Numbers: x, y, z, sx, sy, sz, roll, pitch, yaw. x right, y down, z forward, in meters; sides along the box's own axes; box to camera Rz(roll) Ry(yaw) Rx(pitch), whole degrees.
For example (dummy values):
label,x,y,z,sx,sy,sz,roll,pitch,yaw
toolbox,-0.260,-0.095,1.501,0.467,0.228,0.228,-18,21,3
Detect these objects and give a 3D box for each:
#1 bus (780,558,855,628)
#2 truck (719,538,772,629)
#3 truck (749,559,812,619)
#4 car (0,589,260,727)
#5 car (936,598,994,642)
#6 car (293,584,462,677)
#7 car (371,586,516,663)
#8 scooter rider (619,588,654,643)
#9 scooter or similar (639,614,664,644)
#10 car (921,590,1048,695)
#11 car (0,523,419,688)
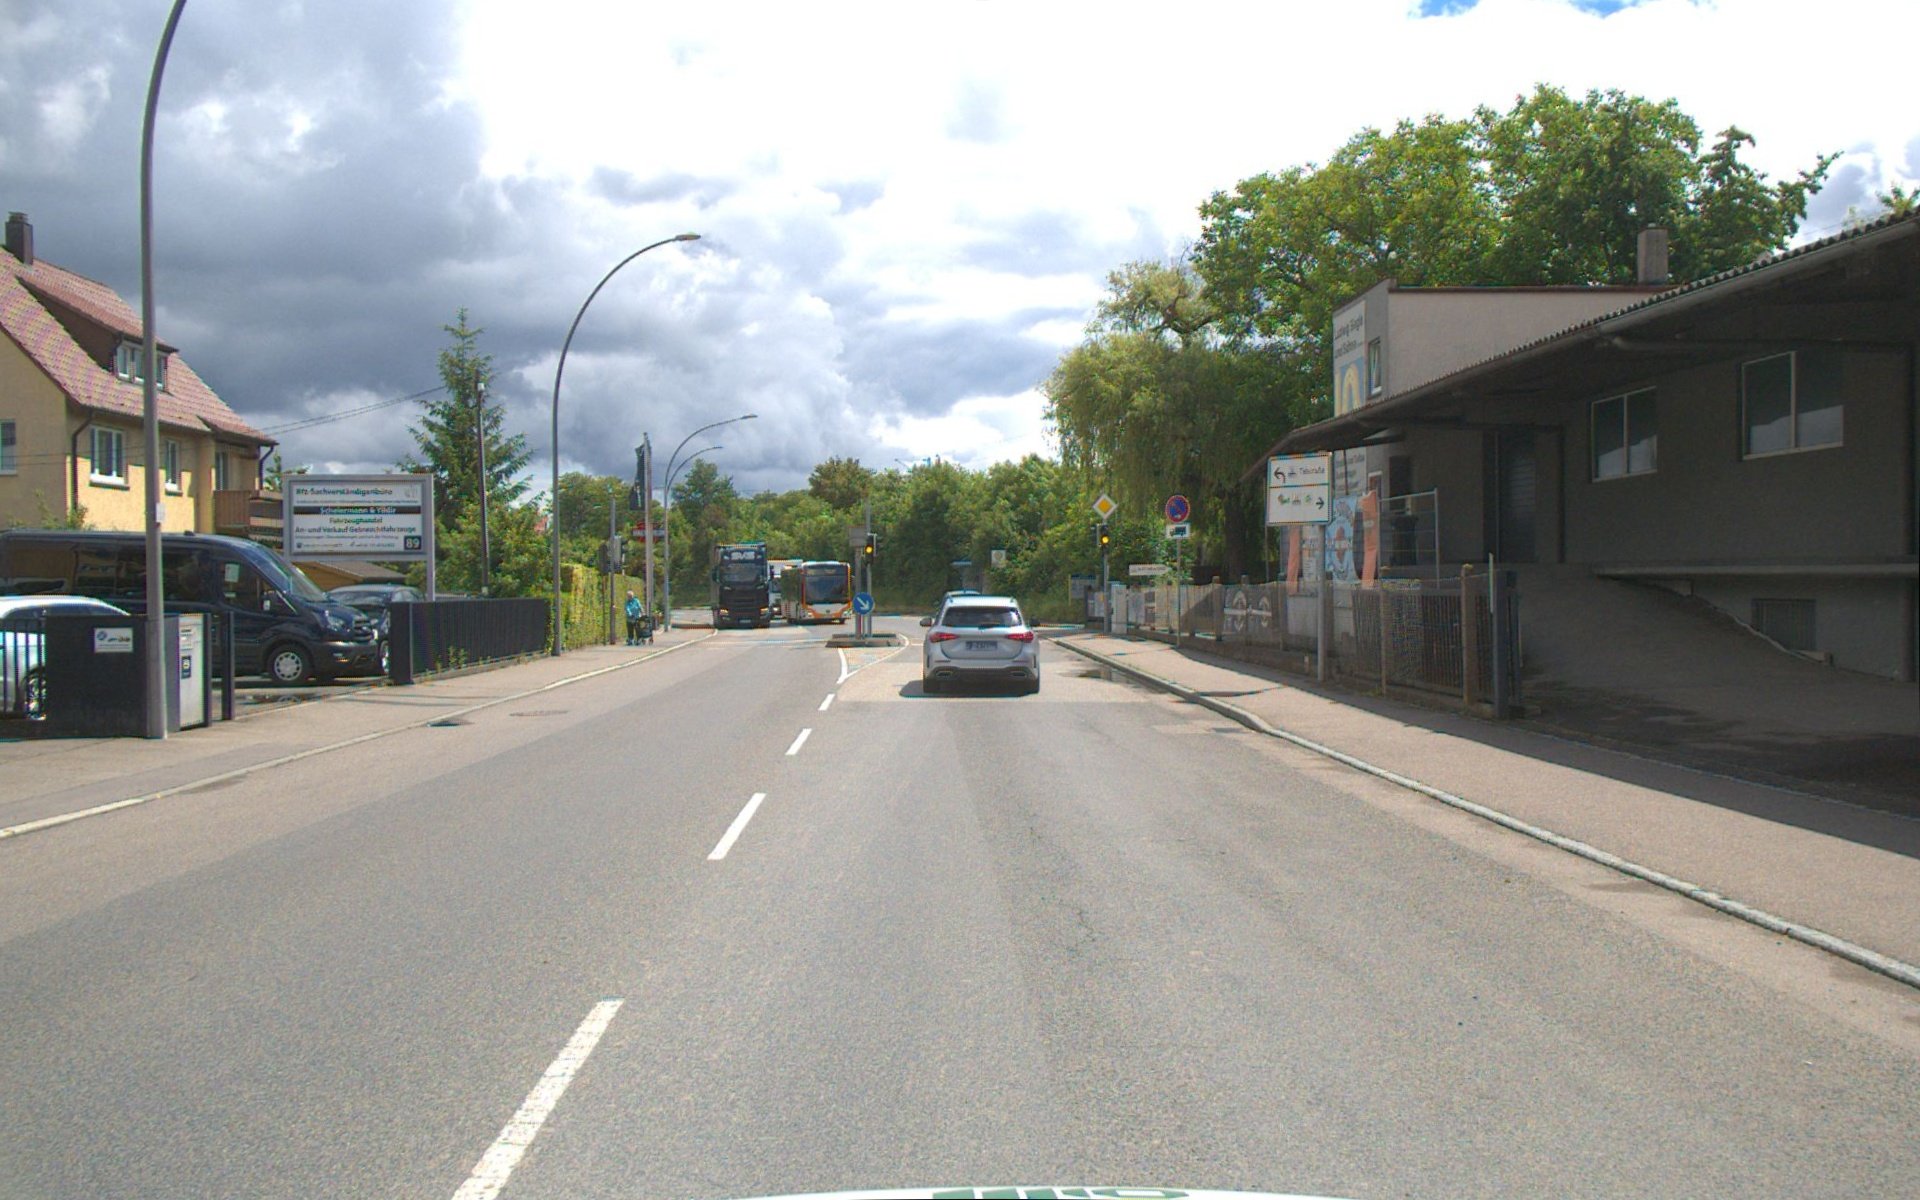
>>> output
label,x,y,z,sx,sy,sz,roll,pitch,yaw
bus,-7.588,-0.357,86.725,2.727,3.323,12.093,-2,0,-10
truck,-10.582,-0.763,81.625,2.383,4.203,9.135,1,0,-7
truck,-11.515,-0.665,105.419,2.791,3.602,9.690,-1,0,-13
car,-11.136,0.636,20.517,1.951,1.512,5.345,-1,0,9
car,0.151,0.718,60.862,1.847,1.535,3.997,0,0,-3
car,-11.124,0.536,31.916,1.992,1.623,4.280,-1,0,-4
car,-11.293,0.496,36.454,2.111,1.533,4.264,-1,0,-4
scooter rider,-9.612,0.452,49.132,0.860,1.617,0.796,-1,0,-2
scooter or similar,-9.101,0.854,48.774,0.599,0.846,0.659,1,0,-2
car,0.397,0.610,26.252,1.846,1.535,4.001,0,0,1
car,-12.510,0.076,27.905,5.915,2.540,2.476,-1,0,-2
